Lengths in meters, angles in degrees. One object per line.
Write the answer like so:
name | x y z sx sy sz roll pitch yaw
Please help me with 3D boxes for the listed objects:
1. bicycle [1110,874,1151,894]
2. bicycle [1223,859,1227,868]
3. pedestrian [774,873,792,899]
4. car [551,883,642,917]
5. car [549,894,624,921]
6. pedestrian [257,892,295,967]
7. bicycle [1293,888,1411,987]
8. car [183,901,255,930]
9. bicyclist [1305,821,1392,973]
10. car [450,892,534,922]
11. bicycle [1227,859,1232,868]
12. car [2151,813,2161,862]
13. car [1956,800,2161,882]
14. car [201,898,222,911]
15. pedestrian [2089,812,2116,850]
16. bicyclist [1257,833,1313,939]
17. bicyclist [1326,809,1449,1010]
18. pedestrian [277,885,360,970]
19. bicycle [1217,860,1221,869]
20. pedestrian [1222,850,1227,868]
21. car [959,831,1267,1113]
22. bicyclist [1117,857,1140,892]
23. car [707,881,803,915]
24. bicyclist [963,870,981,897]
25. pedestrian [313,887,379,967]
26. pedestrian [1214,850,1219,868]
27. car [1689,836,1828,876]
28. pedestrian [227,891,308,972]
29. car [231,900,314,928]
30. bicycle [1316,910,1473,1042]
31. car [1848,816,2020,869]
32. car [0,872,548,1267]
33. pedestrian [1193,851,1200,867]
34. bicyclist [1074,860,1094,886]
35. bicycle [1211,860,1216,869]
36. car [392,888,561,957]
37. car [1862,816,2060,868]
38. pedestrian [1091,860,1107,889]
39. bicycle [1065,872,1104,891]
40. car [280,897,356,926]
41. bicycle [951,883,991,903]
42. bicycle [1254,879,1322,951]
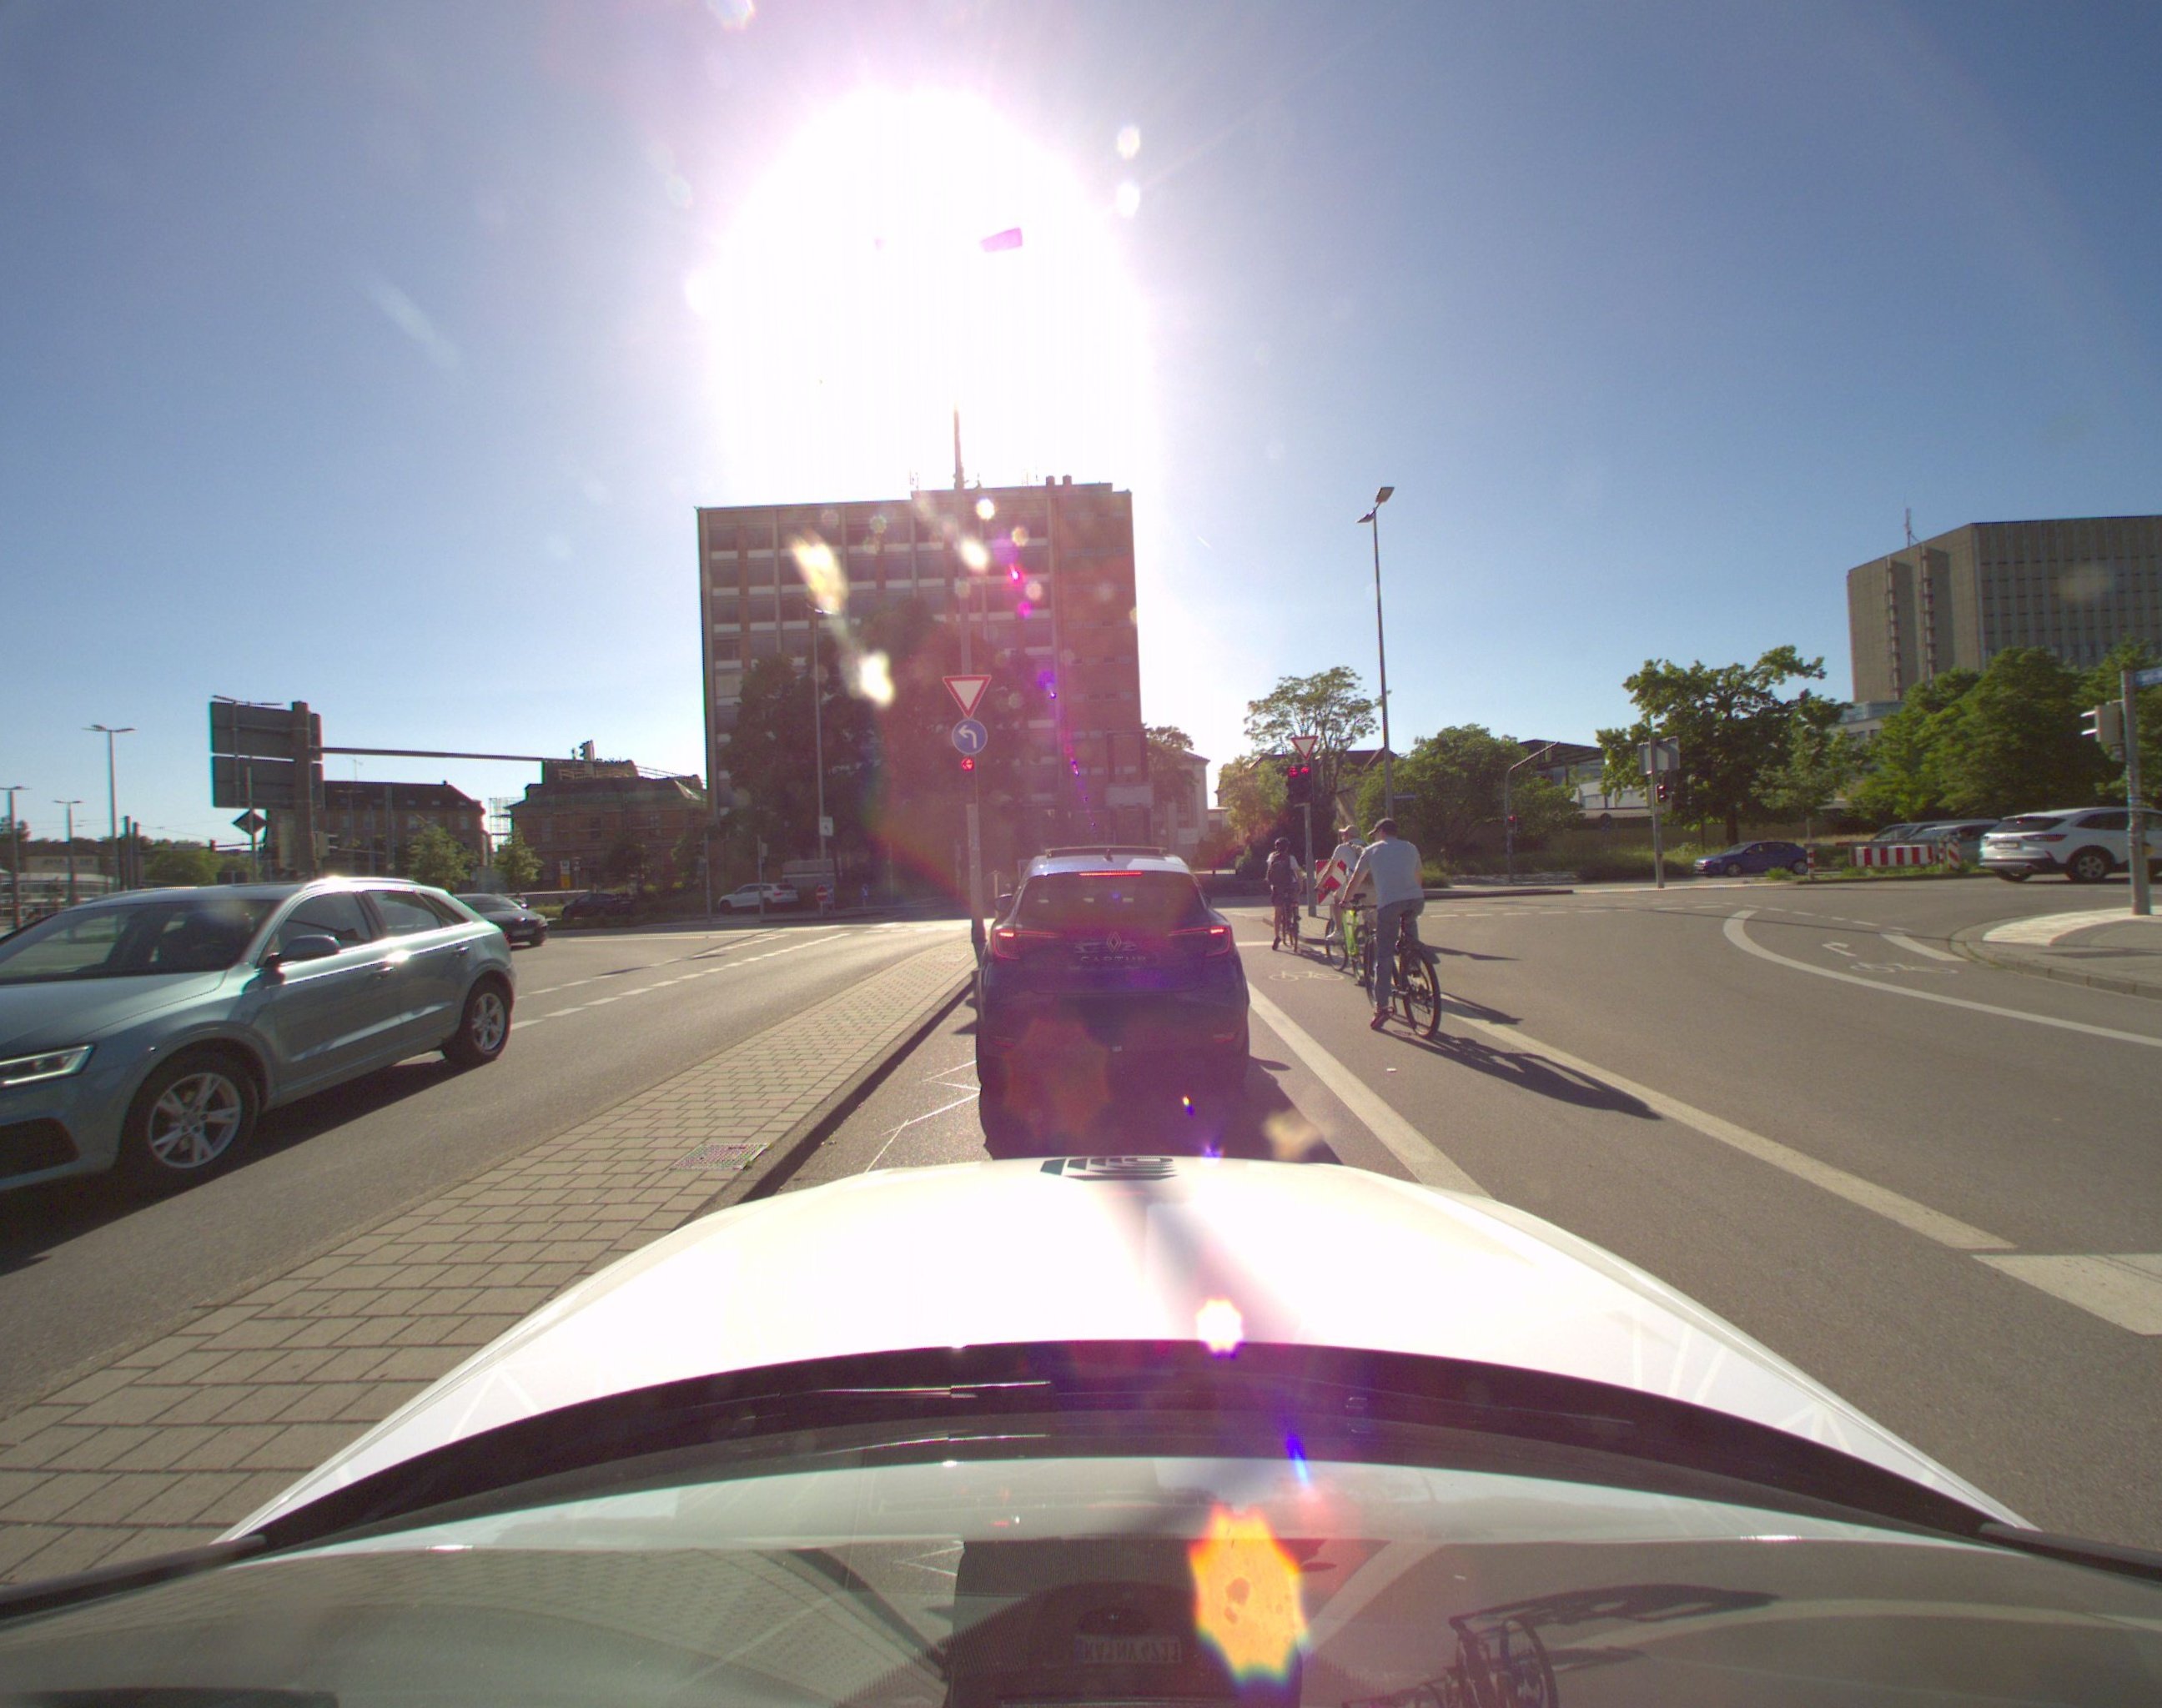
bicycle | 2.655 1.614 43.843 2.067 0.930 0.698 -3 1 13
bicycle | 16.650 1.071 94.179 0.403 0.973 1.686 0 -1 6
pedestrian | -19.661 2.100 53.750 0.852 1.571 0.562 -7 -1 22
car | -26.514 2.513 44.558 4.336 1.632 1.853 -2 -1 19
car | -29.453 3.172 48.495 3.805 1.435 1.751 -3 -1 19
pedestrian | -19.221 1.788 19.442 0.600 1.729 0.572 -2 -1 -45
bicycle | 3.211 0.952 9.858 0.657 1.003 1.967 0 -1 -4
car | -54.913 3.907 51.886 4.332 1.632 1.855 -3 -1 26
bicyclist | 3.212 0.491 9.856 0.644 1.739 1.065 0 -1 -4
car | -31.648 2.834 43.757 3.805 1.435 1.751 -2 -1 19
bicycle | 17.184 1.067 94.180 0.403 0.973 1.686 0 -1 6
car | 37.090 -0.630 25.351 4.713 1.584 2.002 -2 -1 3
car | 23.414 -0.315 18.468 4.660 1.619 1.848 -4 -3 8
car | -144.819 8.469 135.595 3.948 2.013 2.013 -3 -1 38
pedestrian | 48.950 -1.075 39.036 0.559 1.778 0.528 -2 -1 5
bicyclist | 3.235 0.497 12.994 0.722 1.629 0.970 0 -1 6
bicyclist | 2.710 0.468 7.302 0.748 1.668 1.017 0 -1 3
pedestrian | -17.133 1.620 18.321 0.698 1.800 1.107 -5 -3 13
bicycle | 15.872 1.218 93.829 0.403 0.973 1.686 0 -1 6
pedestrian | 16.210 0.597 92.190 0.473 2.014 0.469 -2 -1 8
car | 0.200 0.705 6.809 1.798 1.632 3.999 -1 0 0
bicyclist | 2.558 1.097 43.830 1.094 1.867 0.655 -3 -1 12
car | -17.925 2.409 44.800 4.785 1.632 1.853 -2 -1 17
bicyclist | -5.893 1.592 44.060 0.741 1.441 0.593 -2 -1 -25
pedestrian | -16.353 1.613 18.140 0.795 1.690 0.783 -4 -3 -20
pedestrian | 15.098 0.594 90.864 0.473 2.014 0.524 -2 -1 8
car | 28.214 0.098 34.015 4.140 1.435 1.747 -2 -1 8
pedestrian | -18.108 1.697 18.147 0.900 1.690 0.839 -4 -3 -3
car | -47.105 3.493 47.454 4.839 1.388 1.855 -3 -1 25
bicycle | 2.717 1.013 7.302 0.737 0.896 1.980 0 -1 3
car | 35.248 -0.443 33.767 4.856 2.107 2.002 0 -1 4
car | -5.544 0.984 5.317 1.788 1.581 4.243 -4 0 -9
pedestrian | 13.544 0.593 95.403 0.621 1.856 0.564 -2 -1 4
bicyclist | 0.184 1.063 45.825 0.930 1.429 0.600 -3 -1 12
bicycle | 15.254 1.223 93.887 0.403 0.973 1.686 0 -1 6
car | -16.159 1.841 21.713 4.722 1.505 1.831 -5 0 30
car | 28.137 -0.362 26.173 4.025 1.408 1.872 -2 -1 8
pedestrian | 1.040 1.162 46.933 0.732 1.603 0.601 -3 -1 14
bicycle | 0.212 1.554 45.817 2.062 0.964 0.600 -3 -1 13
car | -48.466 3.678 51.727 4.334 1.632 1.854 -3 -1 23
bicycle | -5.931 2.107 44.033 2.016 0.964 0.593 -2 -1 -25
bicycle | 3.244 0.924 12.940 0.735 0.995 2.177 0 -1 6
